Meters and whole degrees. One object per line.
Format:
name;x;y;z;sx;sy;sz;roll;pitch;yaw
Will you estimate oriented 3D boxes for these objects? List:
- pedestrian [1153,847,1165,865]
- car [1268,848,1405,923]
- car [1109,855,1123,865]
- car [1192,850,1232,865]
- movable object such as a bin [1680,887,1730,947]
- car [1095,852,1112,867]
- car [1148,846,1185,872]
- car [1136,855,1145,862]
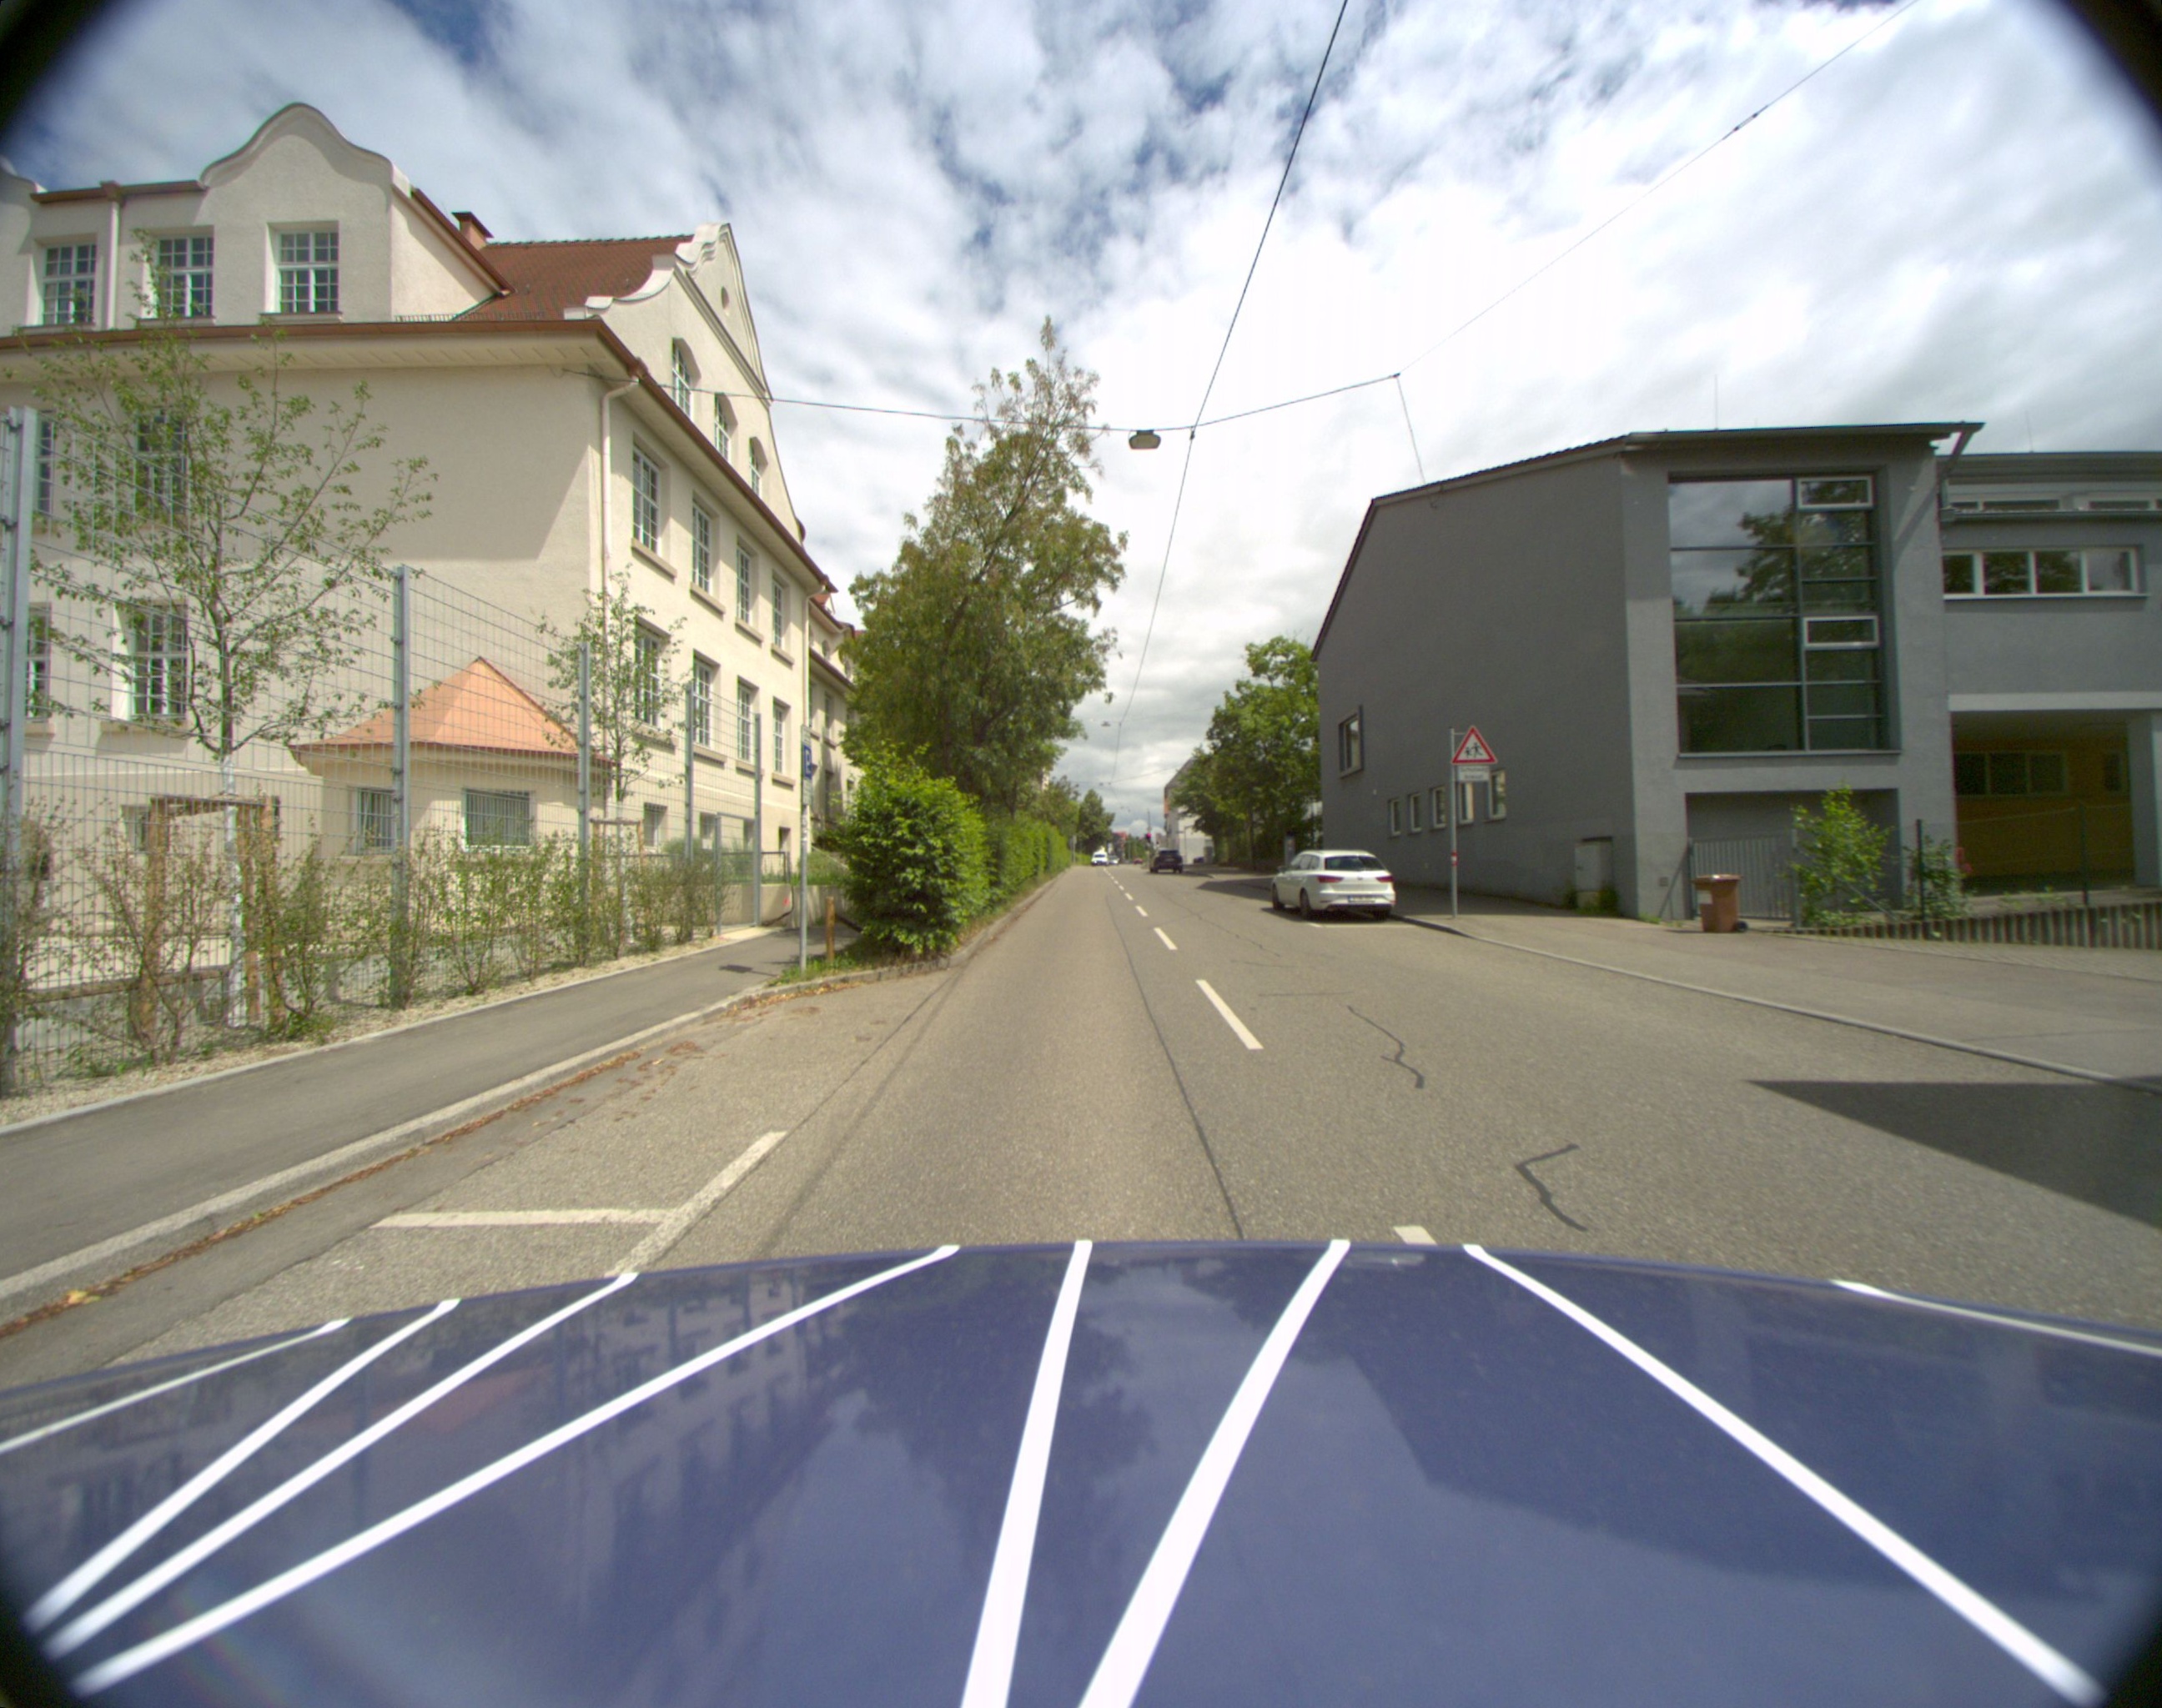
pedestrian;7.063;0.147;69.132;0.774;1.588;0.670;-2;0;-35
car;5.505;0.675;16.882;1.701;1.382;3.867;3;-2;0
car;5.390;0.950;116.862;1.794;1.477;4.003;-3;-2;6
car;13.971;0.417;81.284;3.997;1.468;1.859;-1;-2;1
movable object such as a bin;9.993;1.002;12.176;0.455;0.923;0.399;0;1;0
car;2.756;0.682;92.760;1.893;1.717;4.295;-1;0;4
car;5.605;0.329;50.222;1.800;1.600;4.645;-1;0;-1
car;13.592;1.050;174.236;1.794;1.477;4.003;-3;-2;6
